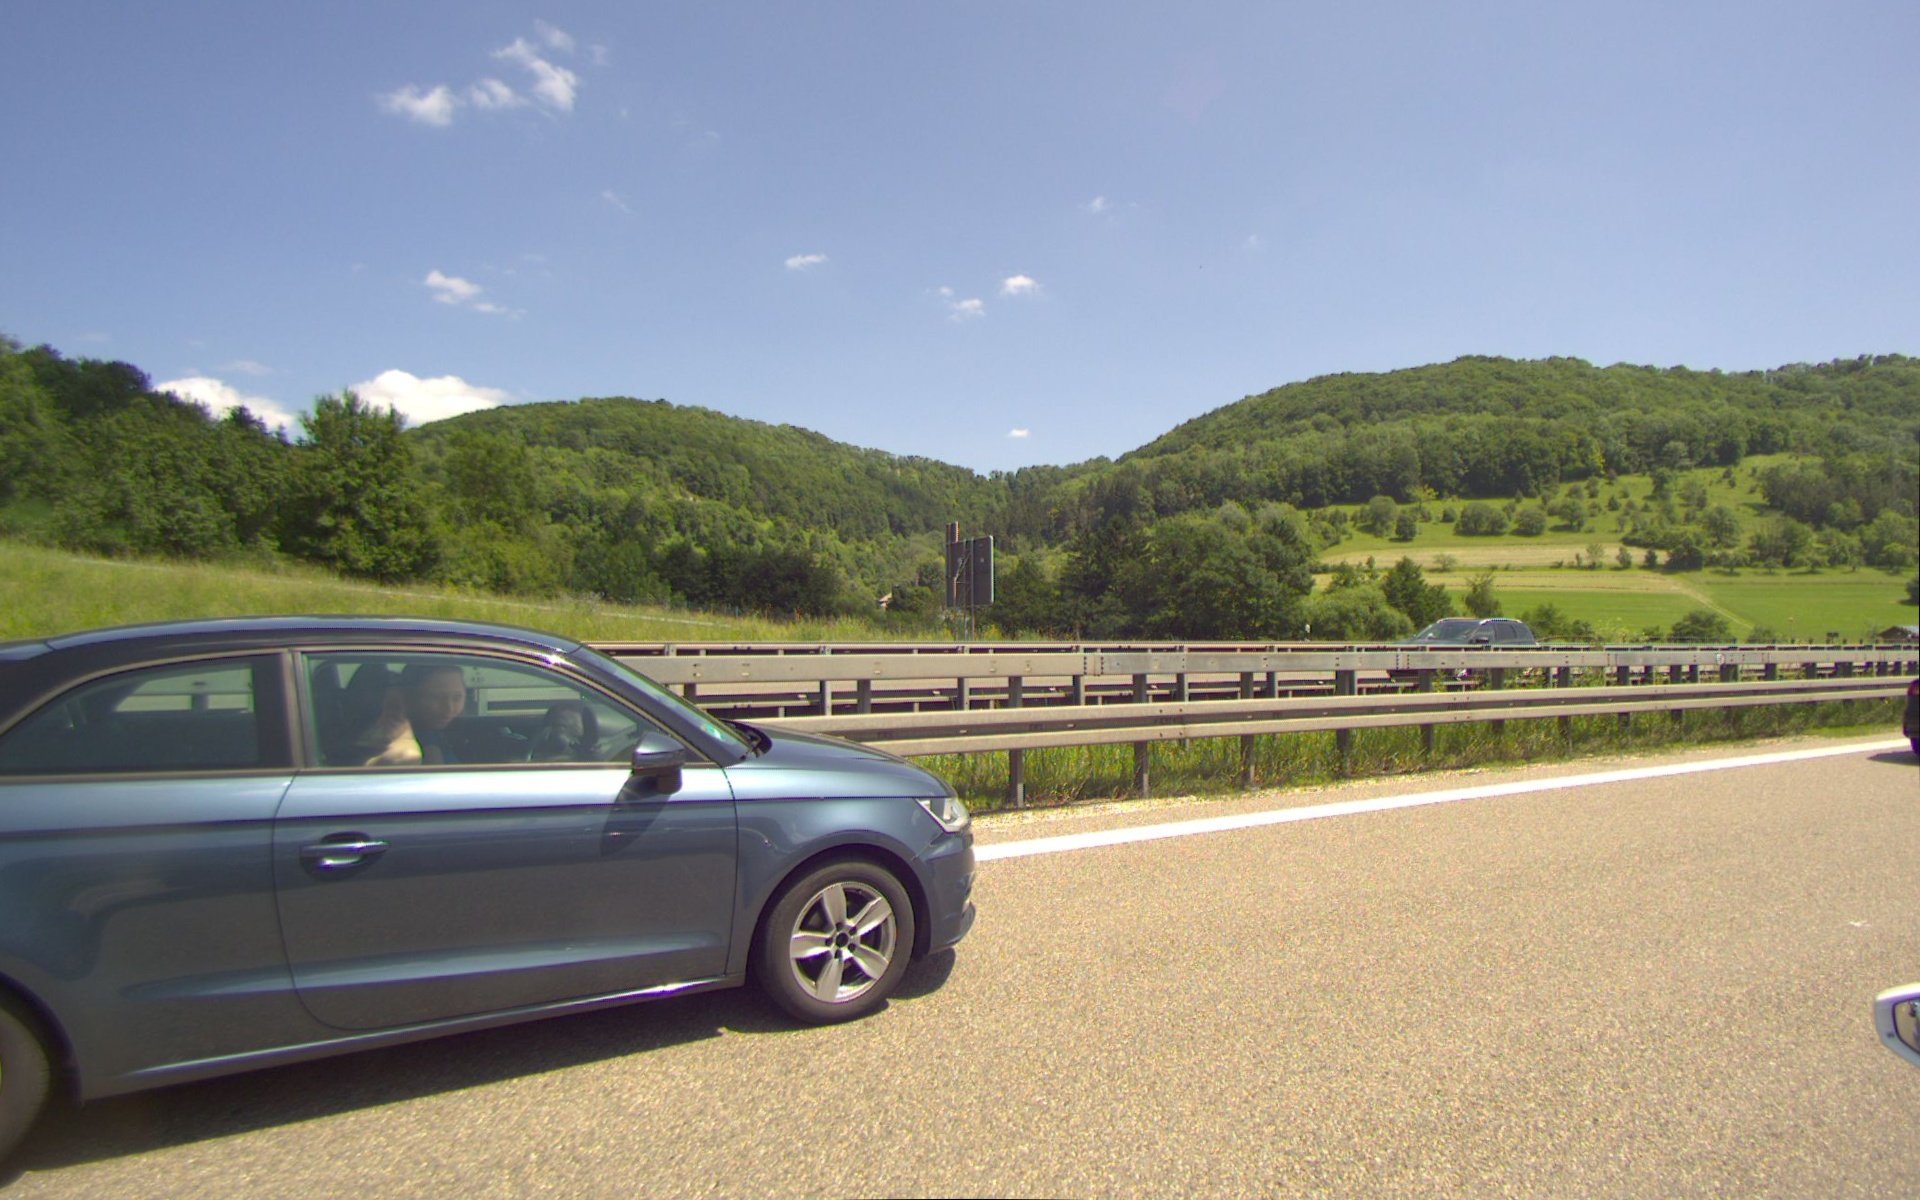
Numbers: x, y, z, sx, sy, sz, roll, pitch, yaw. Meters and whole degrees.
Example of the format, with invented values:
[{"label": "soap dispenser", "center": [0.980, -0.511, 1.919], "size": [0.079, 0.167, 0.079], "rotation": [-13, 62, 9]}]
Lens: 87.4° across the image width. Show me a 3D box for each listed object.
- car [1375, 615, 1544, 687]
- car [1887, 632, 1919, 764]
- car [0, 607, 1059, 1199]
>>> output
[{"label": "car", "center": [12.350, 1.229, 24.813], "size": [4.031, 1.631, 1.840], "rotation": [1, -1, -30]}, {"label": "car", "center": [12.773, 1.112, 11.502], "size": [4.910, 1.409, 1.792], "rotation": [1, -1, -30]}, {"label": "car", "center": [-1.735, 0.760, 3.631], "size": [3.953, 1.407, 1.680], "rotation": [1, -1, -31]}]
